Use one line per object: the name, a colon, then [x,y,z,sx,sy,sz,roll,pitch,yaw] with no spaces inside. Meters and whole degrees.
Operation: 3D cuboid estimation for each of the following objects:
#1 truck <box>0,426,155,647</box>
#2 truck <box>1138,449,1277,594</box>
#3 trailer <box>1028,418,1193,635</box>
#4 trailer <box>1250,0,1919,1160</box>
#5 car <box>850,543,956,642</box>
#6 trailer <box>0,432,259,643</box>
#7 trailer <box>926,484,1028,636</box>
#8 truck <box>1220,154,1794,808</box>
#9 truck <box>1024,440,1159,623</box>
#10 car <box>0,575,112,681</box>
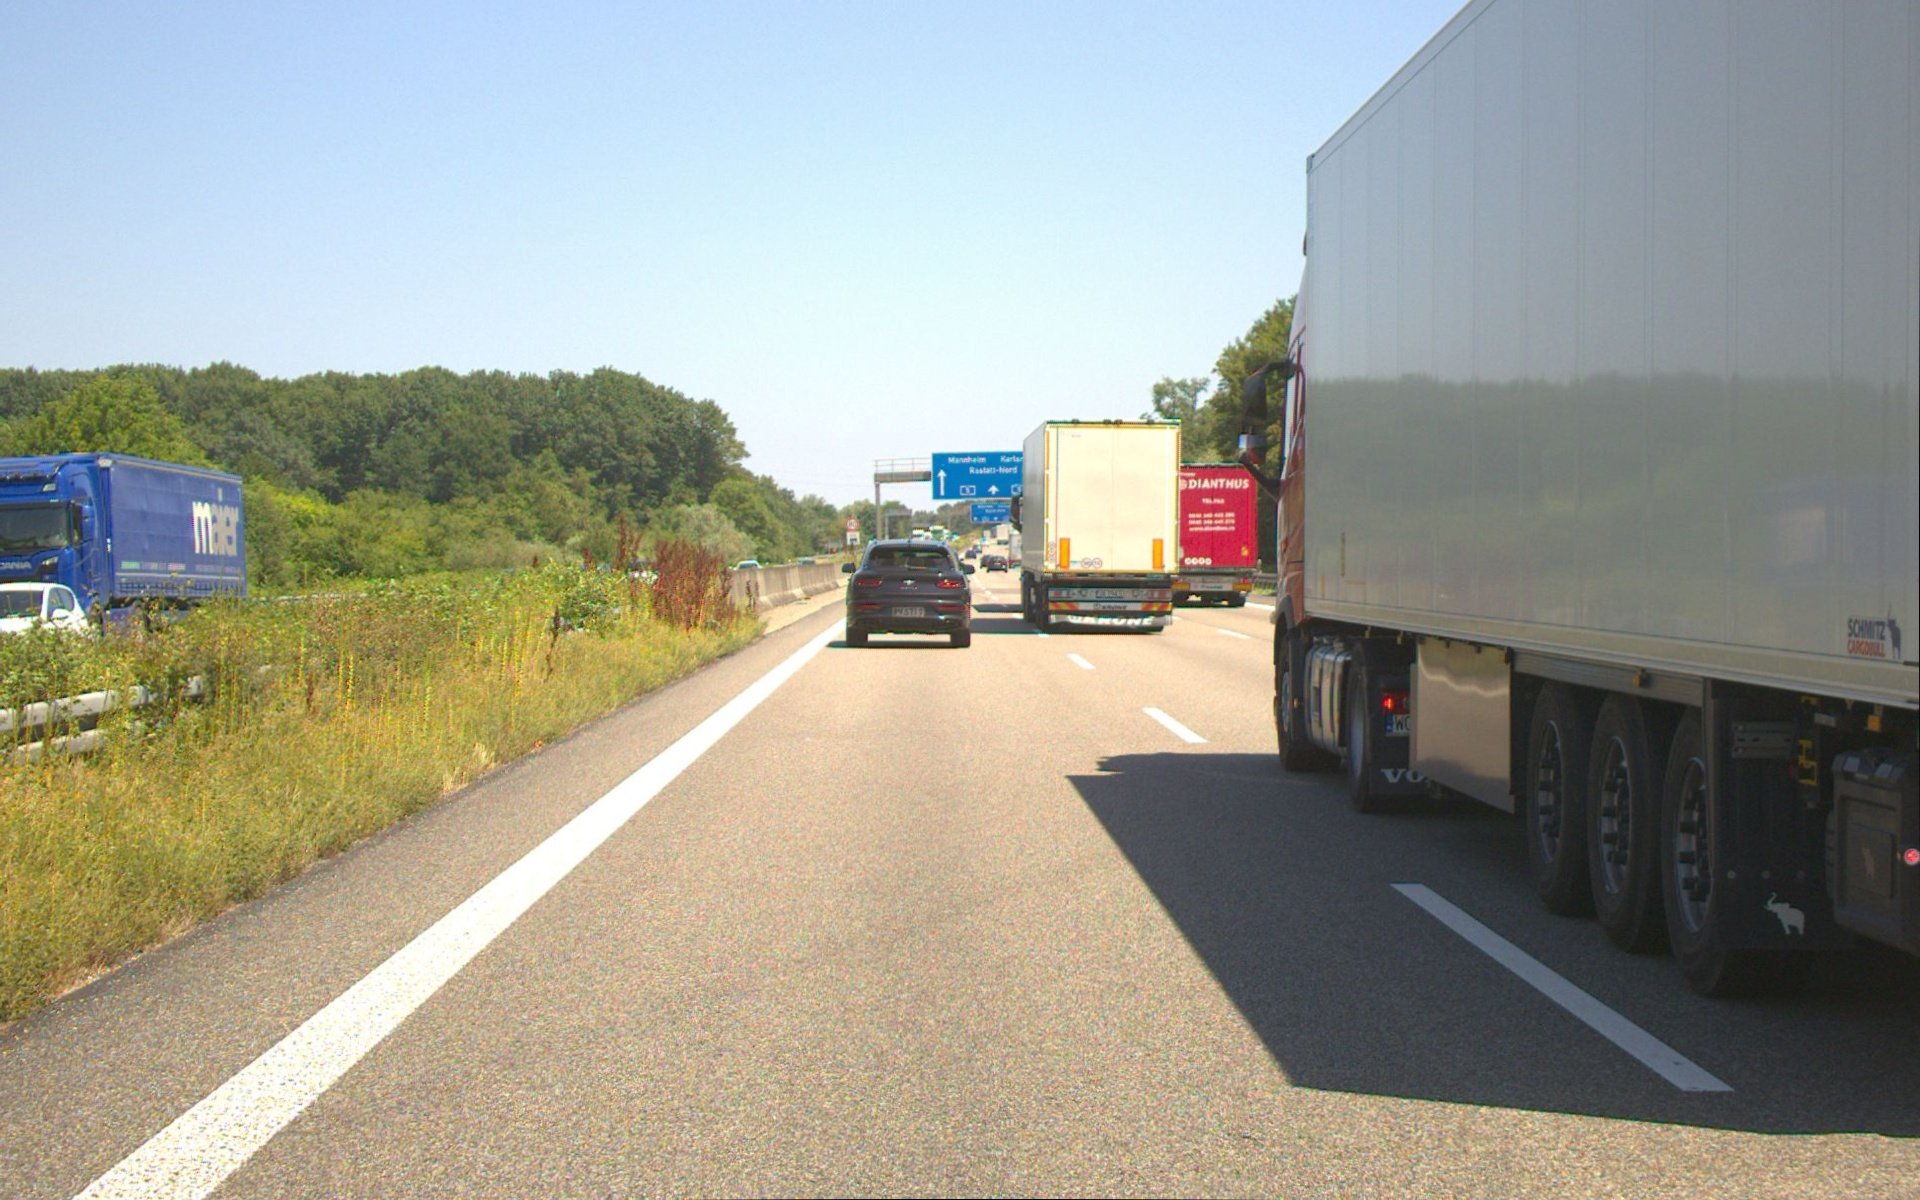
truck: [-17.944,-1.231,68.140,2.467,4.119,5.684,-3,1,0]
truck: [7.381,-2.309,104.403,3.055,4.092,13.219,1,1,-1]
trailer: [2.932,-1.460,70.319,2.795,4.021,12.568,0,1,0]
trailer: [3.660,-0.711,16.473,2.937,4.004,16.201,1,1,-1]
car: [-0.910,-0.151,55.907,1.660,1.544,3.783,0,1,-1]
trailer: [-18.064,-1.351,75.737,2.472,4.117,13.467,-3,1,-1]
trailer: [0.533,-1.110,99.266,2.708,4.054,14.746,1,0,1]
truck: [3.587,-0.761,24.149,2.941,3.972,6.102,1,1,-1]
truck: [2.929,-1.535,78.211,2.800,3.993,6.021,0,1,0]
car: [-13.838,0.396,50.405,1.807,1.444,4.000,-2,1,0]
